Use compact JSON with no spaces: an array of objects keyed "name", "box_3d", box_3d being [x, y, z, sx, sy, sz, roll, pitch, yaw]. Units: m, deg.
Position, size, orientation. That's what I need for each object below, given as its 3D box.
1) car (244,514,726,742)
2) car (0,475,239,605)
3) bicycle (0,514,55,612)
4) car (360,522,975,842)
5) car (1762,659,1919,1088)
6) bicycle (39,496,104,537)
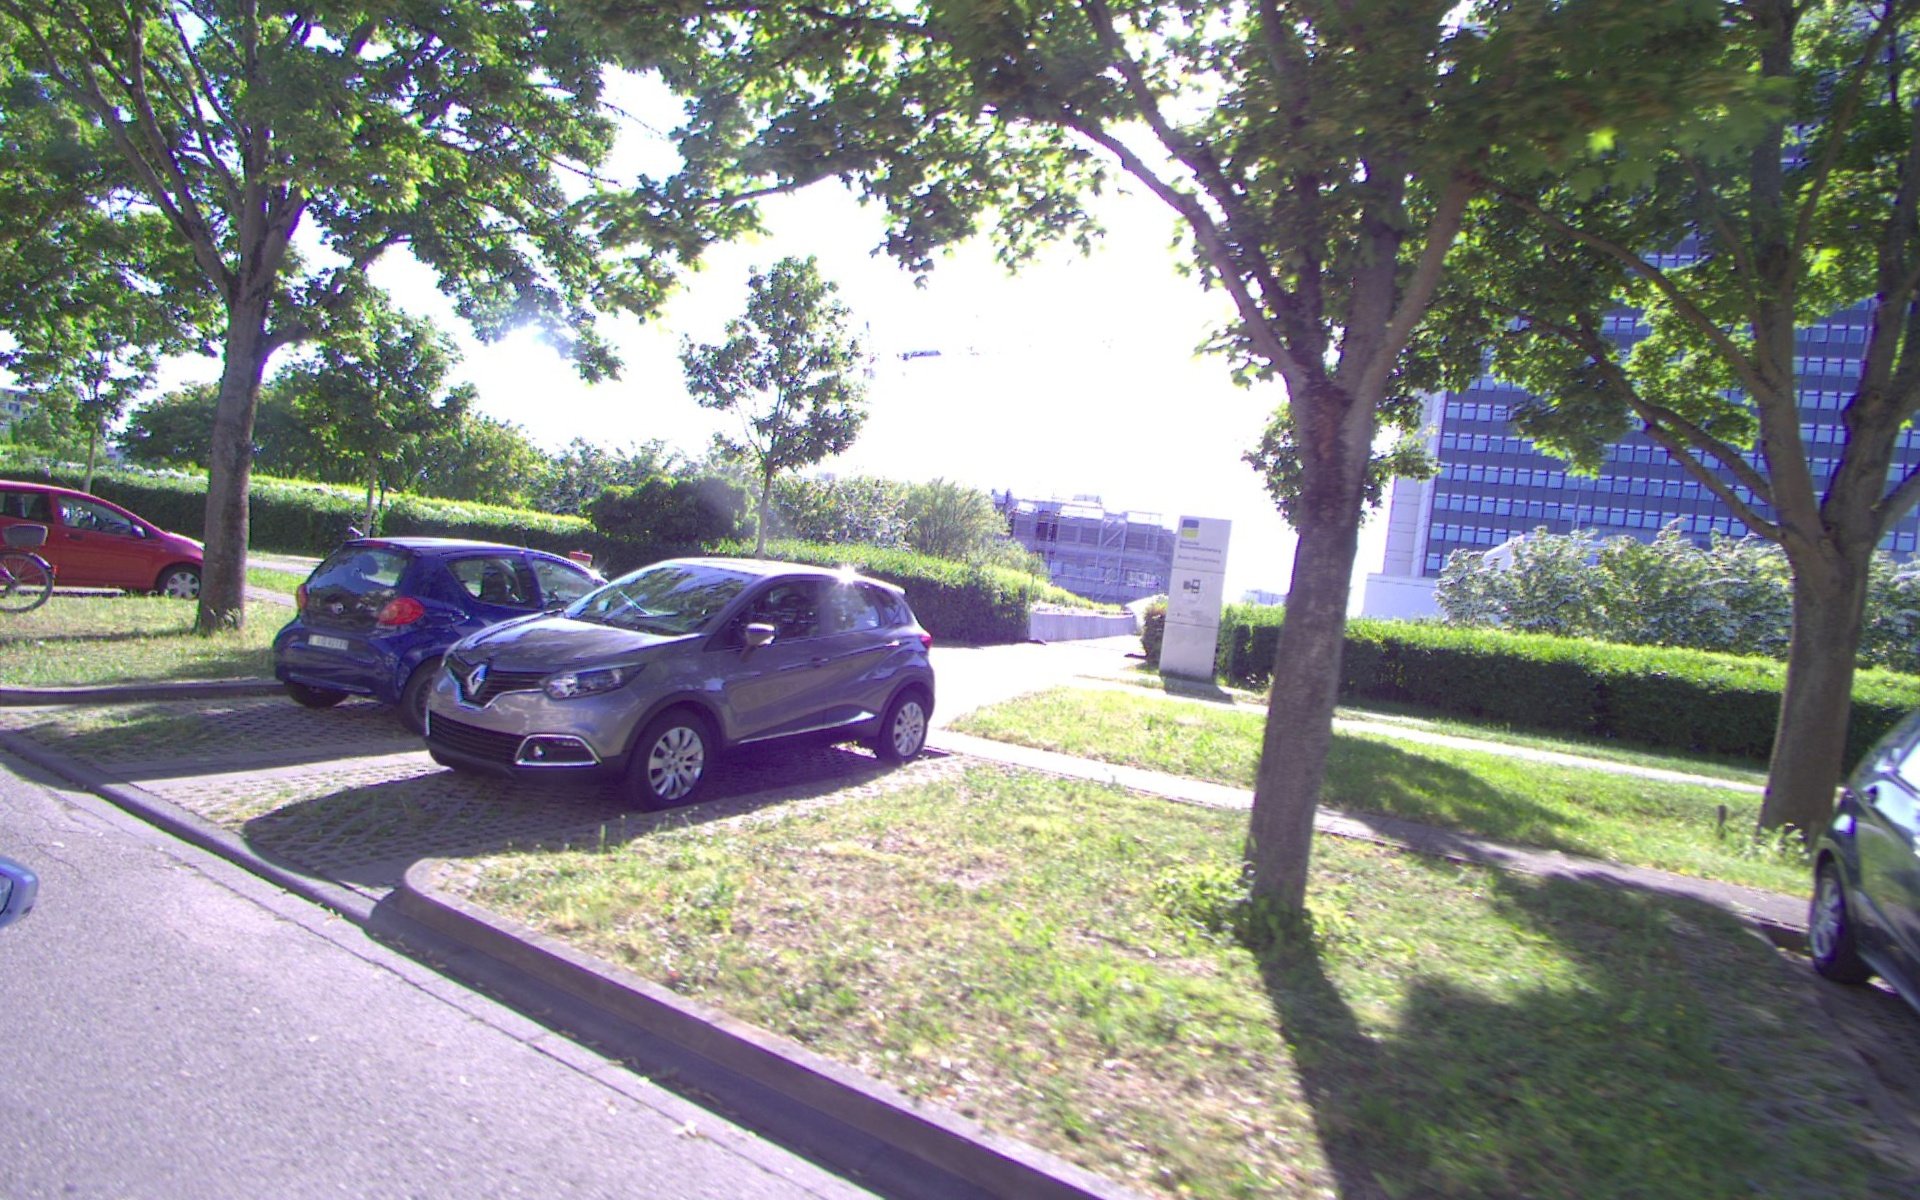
[{"name":"car","box_3d":[-4.022,0.200,9.067,1.826,1.499,3.465,7,2,27]},{"name":"car","box_3d":[-12.123,-0.818,13.637,1.600,1.565,3.434,6,2,31]},{"name":"bicycle","box_3d":[-10.711,-0.450,10.535,0.522,1.004,1.747,8,2,41]},{"name":"car","box_3d":[-1.797,0.453,7.517,1.828,1.566,4.194,7,2,31]},{"name":"car","box_3d":[4.737,1.185,3.750,1.827,1.566,4.152,7,2,28]},{"name":"bicycle","box_3d":[-22.585,-2.122,25.583,1.382,0.878,0.347,7,2,6]}]
